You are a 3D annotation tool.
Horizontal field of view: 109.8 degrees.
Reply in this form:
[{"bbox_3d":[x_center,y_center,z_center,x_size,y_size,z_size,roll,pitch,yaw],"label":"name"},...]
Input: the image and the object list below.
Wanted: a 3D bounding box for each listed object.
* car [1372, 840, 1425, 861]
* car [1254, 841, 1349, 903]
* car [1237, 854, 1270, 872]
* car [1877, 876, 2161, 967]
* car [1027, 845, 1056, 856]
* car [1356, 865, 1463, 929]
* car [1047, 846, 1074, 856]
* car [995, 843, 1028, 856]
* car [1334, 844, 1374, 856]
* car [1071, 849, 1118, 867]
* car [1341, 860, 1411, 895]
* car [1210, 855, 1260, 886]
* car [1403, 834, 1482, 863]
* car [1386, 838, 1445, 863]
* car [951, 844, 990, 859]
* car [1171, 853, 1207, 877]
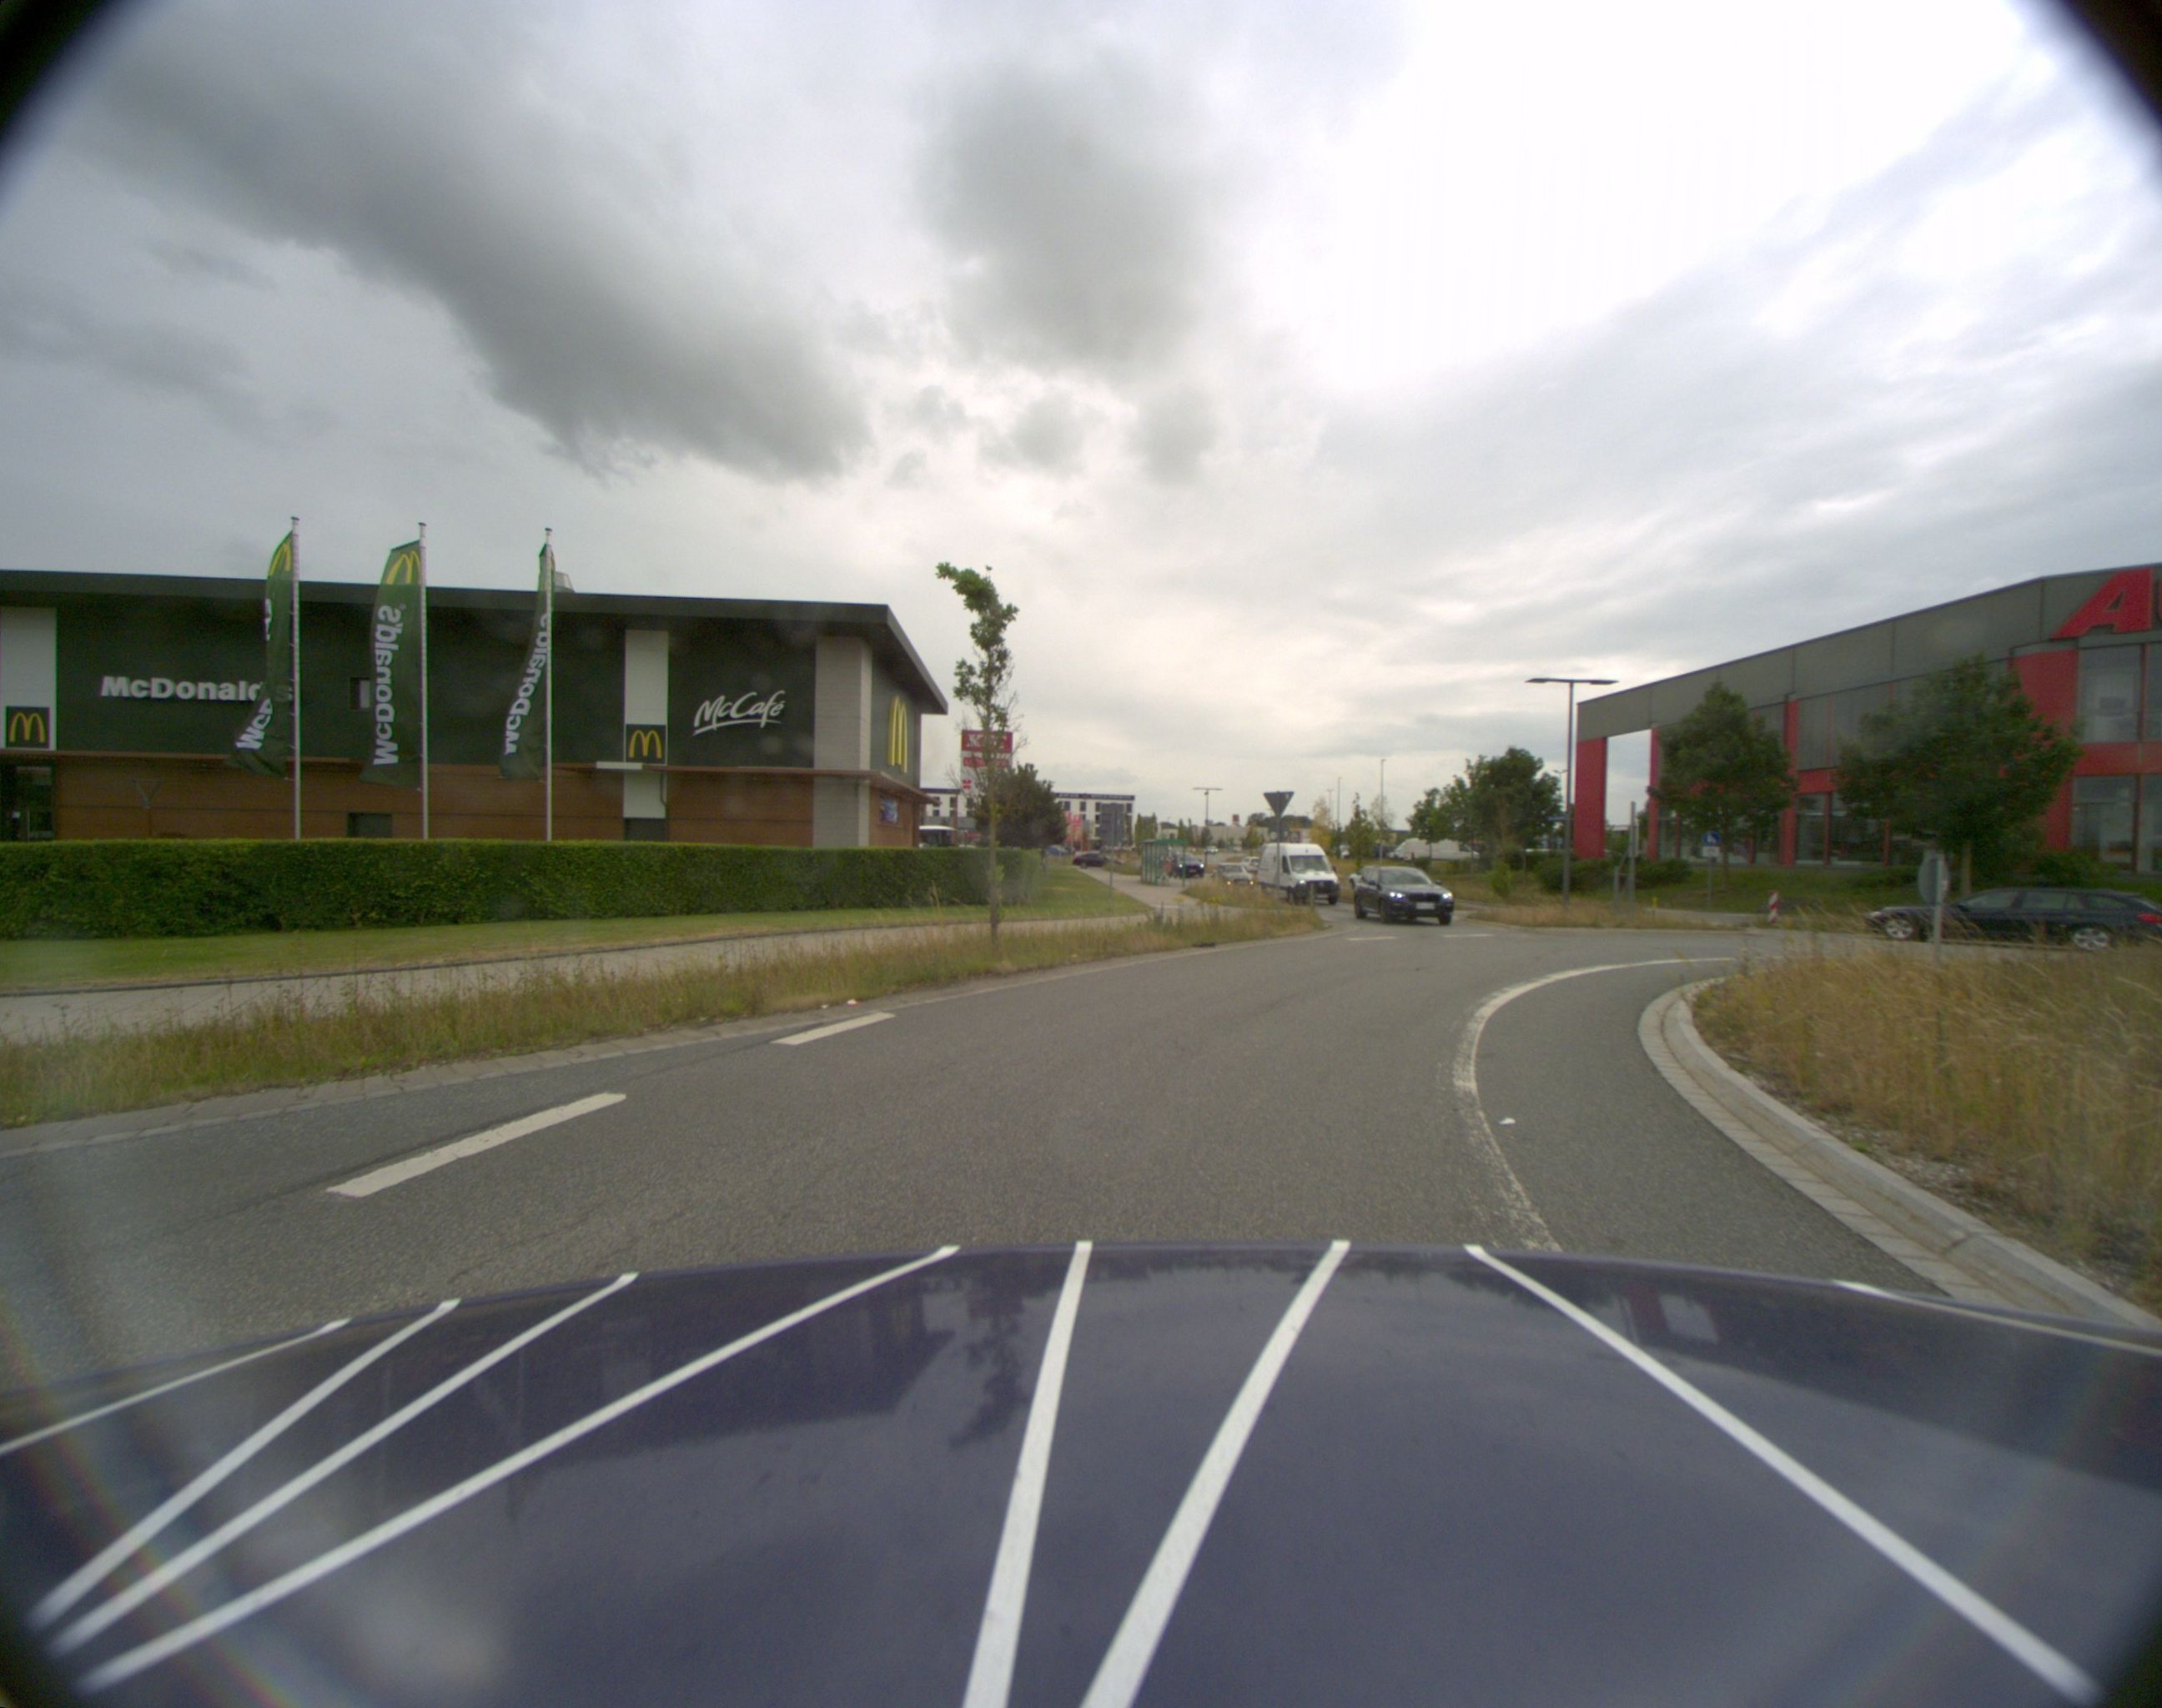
[{"bbox_3d":[35.273,-0.450,84.532,5.052,2.211,2.065,1,1,3],"label":"car"},{"bbox_3d":[9.766,0.678,34.314,2.027,2.513,6.101,1,1,-5],"label":"car"},{"bbox_3d":[14.479,0.724,64.046,1.726,1.400,4.643,2,0,0],"label":"car"},{"bbox_3d":[21.992,1.453,17.796,2.003,1.599,4.285,-2,3,-34],"label":"car"},{"bbox_3d":[-5.880,-0.496,113.583,3.994,1.477,1.848,1,1,8],"label":"car"},{"bbox_3d":[9.654,1.194,22.691,1.866,1.599,4.002,1,1,7],"label":"car"},{"bbox_3d":[-3.372,-0.485,122.542,3.993,1.478,1.848,0,2,13],"label":"car"},{"bbox_3d":[-9.039,-0.579,98.763,3.995,1.513,1.847,1,1,4],"label":"car"},{"bbox_3d":[38.627,-0.559,107.558,5.051,1.647,2.065,1,1,6],"label":"car"},{"bbox_3d":[1.181,0.373,66.780,3.997,1.478,1.846,-1,2,0],"label":"car"},{"bbox_3d":[16.150,1.247,41.796,1.733,1.549,4.082,5,1,-7],"label":"car"},{"bbox_3d":[8.811,0.921,43.899,1.868,1.599,3.998,1,1,-3],"label":"car"},{"bbox_3d":[34.142,-0.546,71.849,6.415,2.609,2.064,-1,2,0],"label":"car"},{"bbox_3d":[33.826,-0.359,76.988,5.055,2.360,2.063,-1,2,-4],"label":"car"},{"bbox_3d":[-11.648,-0.277,79.893,4.000,1.478,1.845,-1,2,-8],"label":"car"},{"bbox_3d":[7.984,0.773,56.366,1.868,1.599,3.998,1,1,-3],"label":"car"}]
